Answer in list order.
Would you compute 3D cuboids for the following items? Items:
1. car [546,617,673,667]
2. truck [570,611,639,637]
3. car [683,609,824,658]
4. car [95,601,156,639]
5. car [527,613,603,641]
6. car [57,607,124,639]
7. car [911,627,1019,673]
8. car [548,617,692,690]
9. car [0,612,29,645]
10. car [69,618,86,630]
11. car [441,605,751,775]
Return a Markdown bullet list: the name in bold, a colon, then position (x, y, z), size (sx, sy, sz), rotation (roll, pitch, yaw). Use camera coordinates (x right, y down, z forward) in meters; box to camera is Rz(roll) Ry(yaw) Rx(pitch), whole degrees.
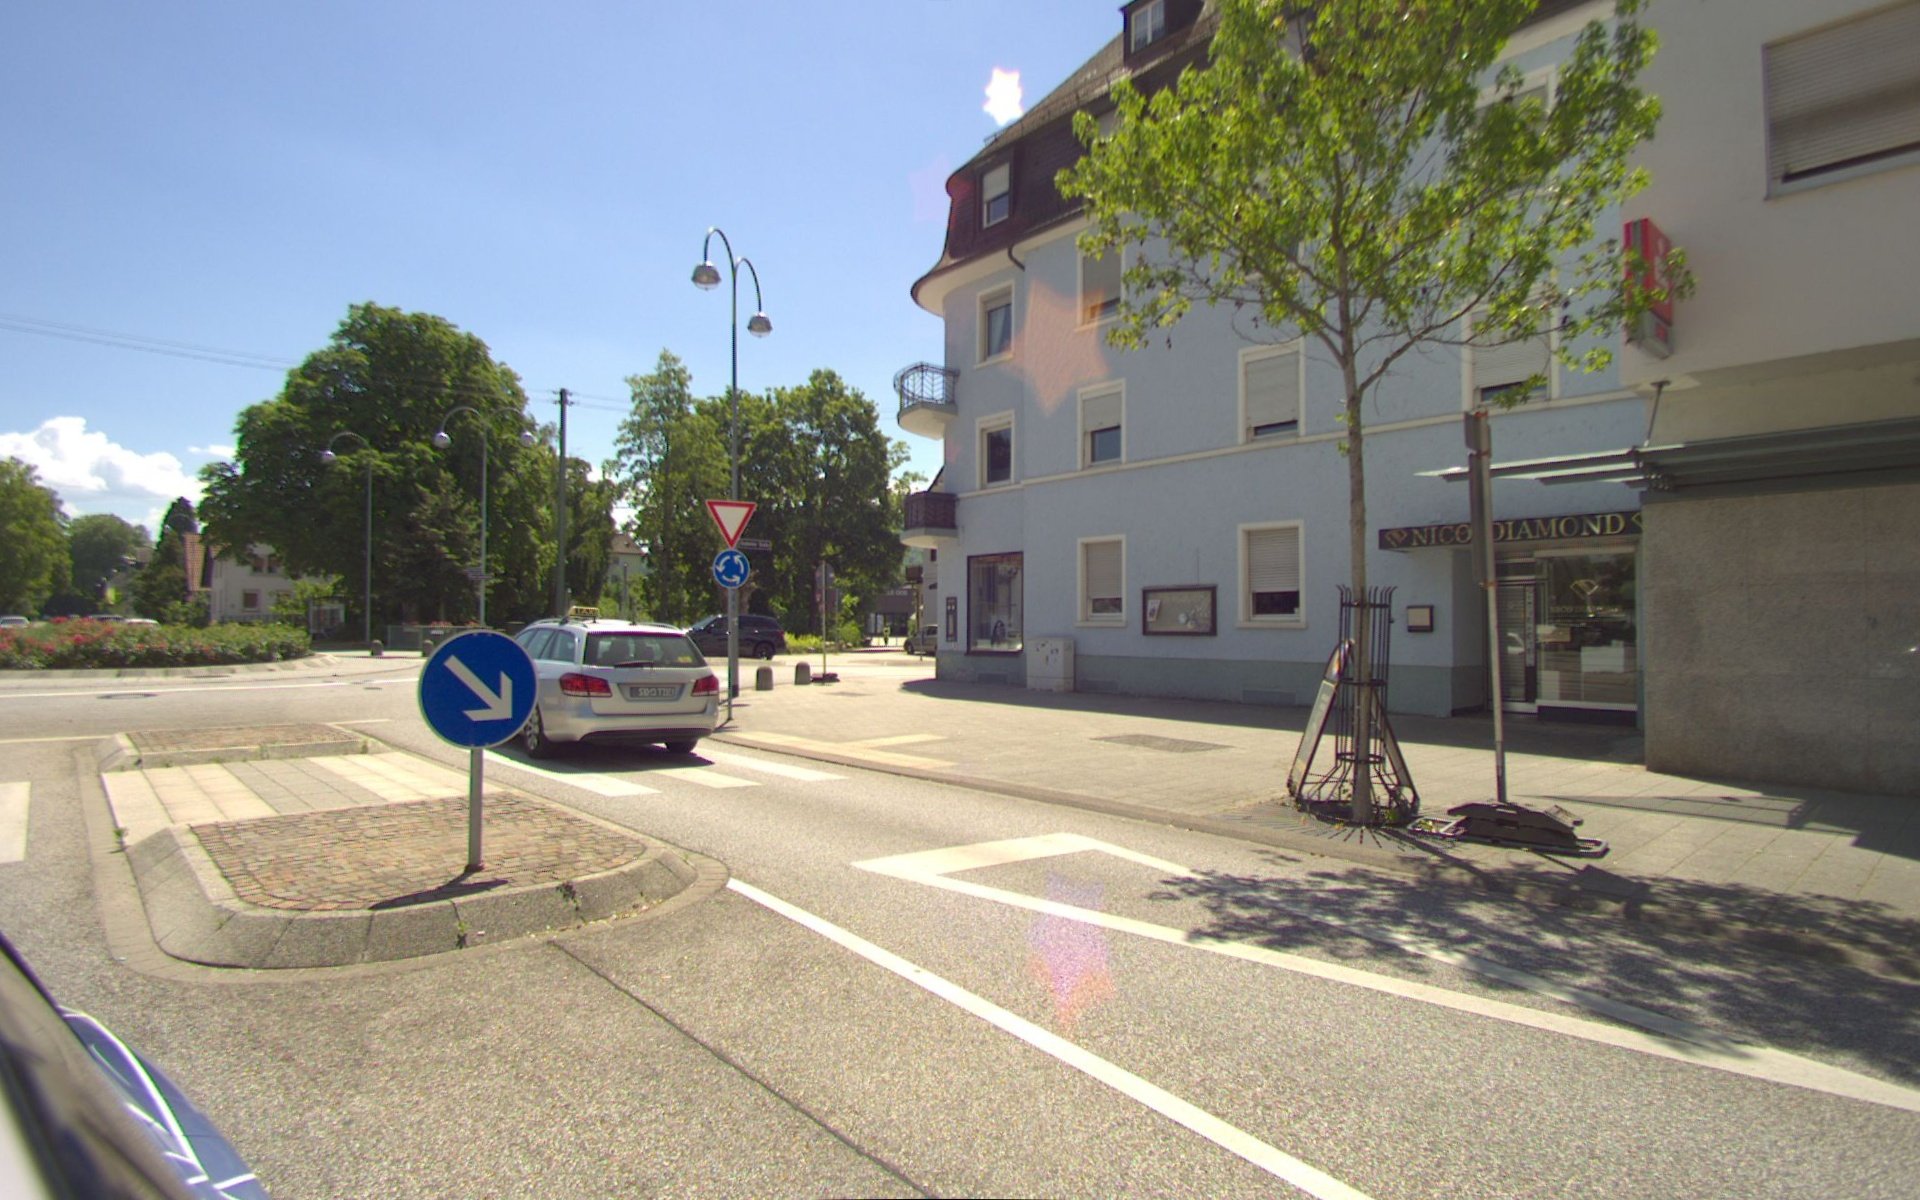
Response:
- **car**: position (-11.373, 1.346, 32.935), size (3.534, 1.558, 1.759), rotation (2, -2, -35)
- **truck**: position (-34.976, 2.382, 99.743), size (6.117, 2.462, 2.269), rotation (0, -4, -10)
- **car**: position (-7.351, 1.250, 36.287), size (4.544, 1.597, 1.952), rotation (3, -5, -39)
- **car**: position (-40.122, 0.921, 48.611), size (1.904, 1.392, 4.292), rotation (-2, 5, -44)
- **car**: position (-23.324, 1.580, 59.790), size (3.966, 1.613, 1.832), rotation (0, -2, 18)
- **car**: position (-51.618, 1.355, 60.060), size (4.156, 1.574, 1.977), rotation (2, -3, 35)
- **car**: position (0.255, 1.754, 35.832), size (1.990, 1.489, 4.666), rotation (0, -2, 26)
- **car**: position (-7.572, 1.174, 22.936), size (1.684, 1.469, 3.782), rotation (1, -2, 5)
- **car**: position (-63.417, 1.932, 67.419), size (1.969, 2.029, 4.004), rotation (3, -5, -42)
- **car**: position (-140.732, 3.783, 161.351), size (4.002, 1.719, 1.714), rotation (-4, -3, 45)
- **car**: position (-4.583, 0.936, 12.197), size (1.968, 1.605, 5.008), rotation (3, -3, -39)
